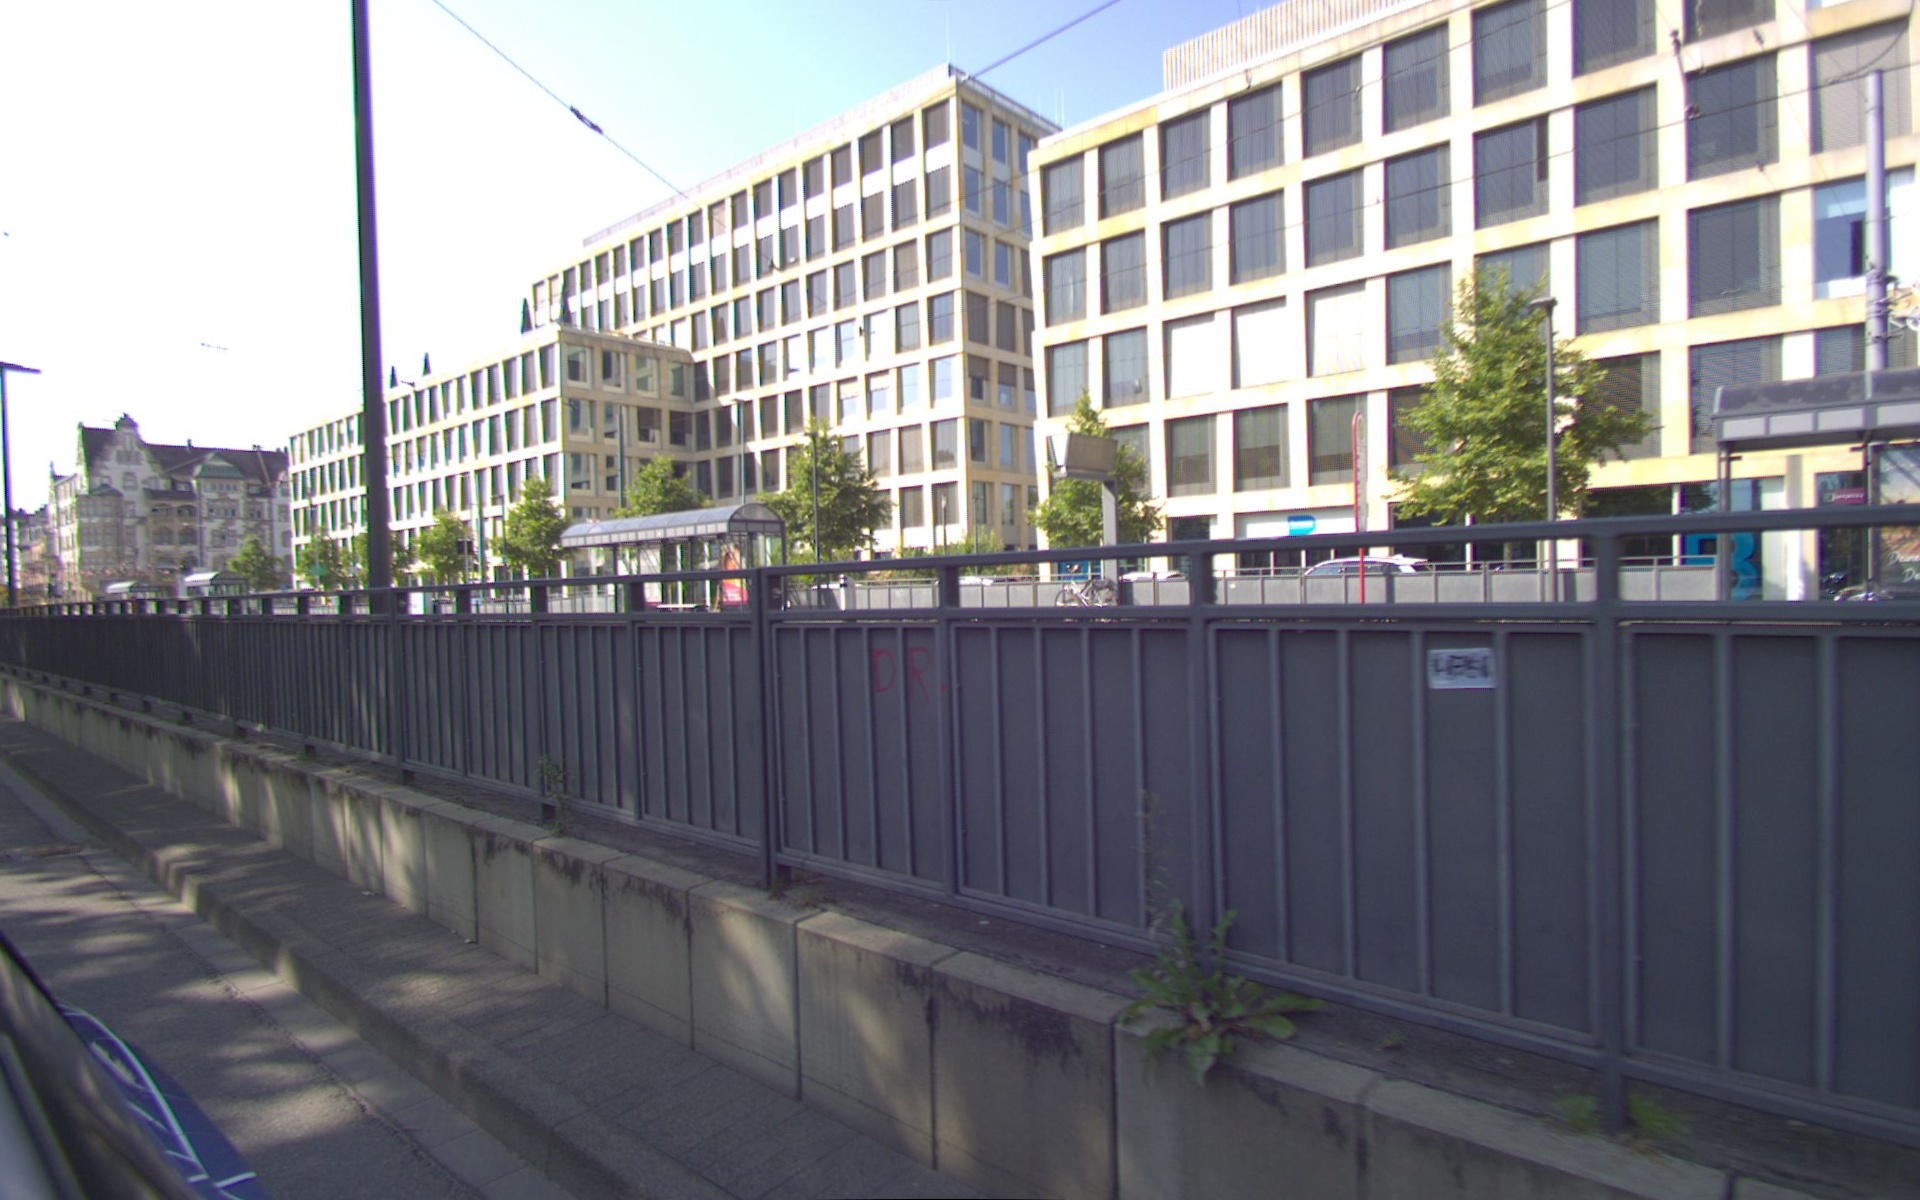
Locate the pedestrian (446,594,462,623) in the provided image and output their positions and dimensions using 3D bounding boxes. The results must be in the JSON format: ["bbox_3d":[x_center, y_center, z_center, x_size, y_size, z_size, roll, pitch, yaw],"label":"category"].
[{"bbox_3d":[-35.762,0.589,71.544,0.822,2.029,0.758,-1,0,44],"label":"pedestrian"}]

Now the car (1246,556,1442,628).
[{"bbox_3d":[9.302,-0.167,24.703,4.128,1.615,1.746,-1,0,40],"label":"car"}]

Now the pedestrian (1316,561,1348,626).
[{"bbox_3d":[11.824,-0.188,32.165,0.822,2.029,0.557,0,-1,41],"label":"pedestrian"}]

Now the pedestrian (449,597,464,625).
[{"bbox_3d":[-37.368,0.802,75.102,0.822,2.029,0.758,0,-1,44],"label":"pedestrian"}]

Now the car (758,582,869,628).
[{"bbox_3d":[-5.442,0.192,37.389,4.128,1.586,1.746,-1,0,40],"label":"car"}]

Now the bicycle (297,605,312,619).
[{"bbox_3d":[-43.368,0.798,66.990,1.575,0.886,0.384,-1,1,41],"label":"bicycle"}]

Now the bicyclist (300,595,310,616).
[{"bbox_3d":[-43.318,0.373,66.931,0.447,1.371,0.383,-1,0,41],"label":"bicyclist"}]

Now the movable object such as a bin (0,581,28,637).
[{"bbox_3d":[-80.339,0.819,84.752,4.211,4.588,2.955,-2,0,43],"label":"movable object such as a bin"}]

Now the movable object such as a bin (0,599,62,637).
[{"bbox_3d":[-85.102,1.669,92.047,3.548,3.247,4.091,-2,0,25],"label":"movable object such as a bin"}]

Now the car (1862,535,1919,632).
[{"bbox_3d":[17.783,-0.306,16.649,4.308,1.615,1.746,-1,0,40],"label":"car"}]

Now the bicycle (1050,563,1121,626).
[{"bbox_3d":[2.393,-0.103,19.402,0.465,1.156,1.487,-2,1,-34],"label":"bicycle"}]

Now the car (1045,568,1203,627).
[{"bbox_3d":[4.638,-0.049,28.945,4.128,1.586,1.746,-1,0,40],"label":"car"}]
